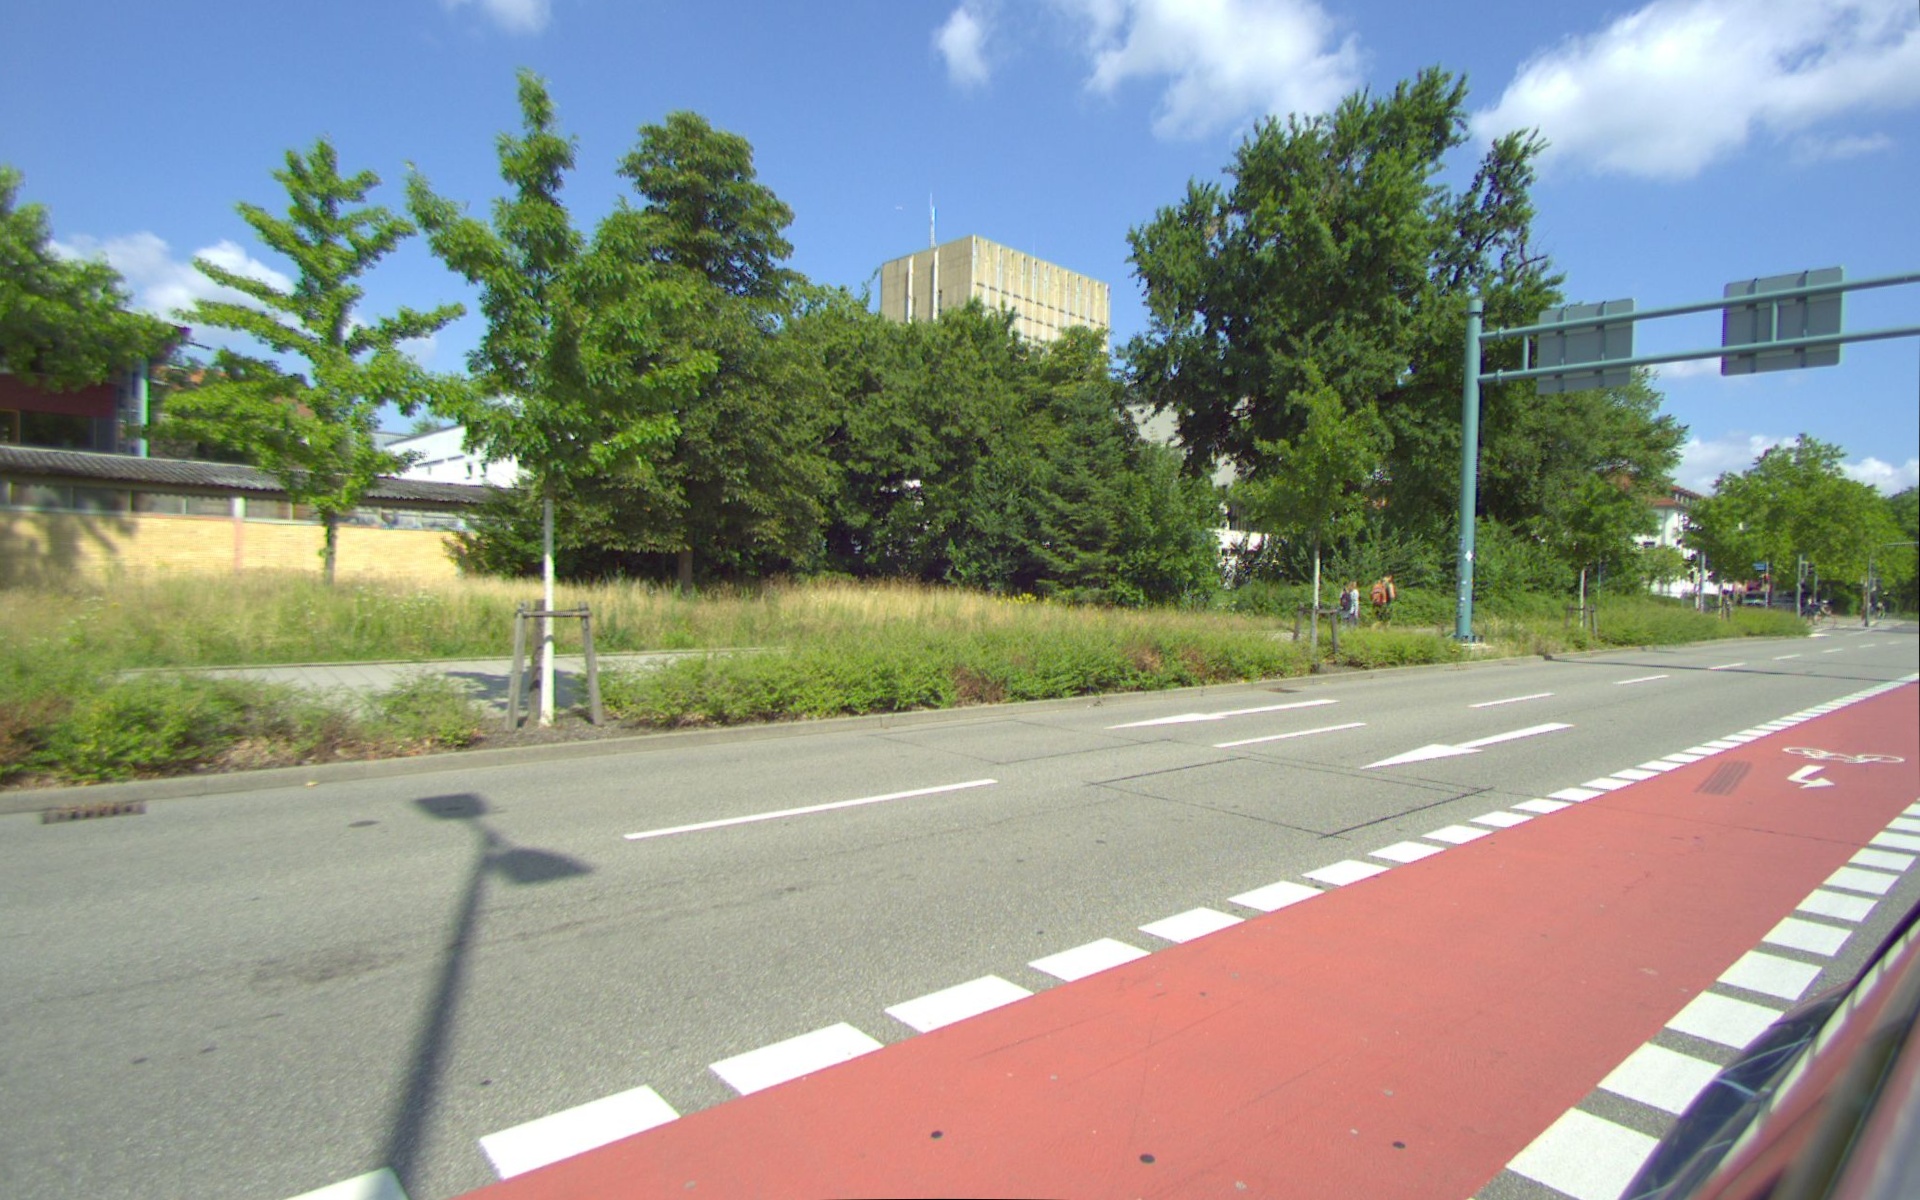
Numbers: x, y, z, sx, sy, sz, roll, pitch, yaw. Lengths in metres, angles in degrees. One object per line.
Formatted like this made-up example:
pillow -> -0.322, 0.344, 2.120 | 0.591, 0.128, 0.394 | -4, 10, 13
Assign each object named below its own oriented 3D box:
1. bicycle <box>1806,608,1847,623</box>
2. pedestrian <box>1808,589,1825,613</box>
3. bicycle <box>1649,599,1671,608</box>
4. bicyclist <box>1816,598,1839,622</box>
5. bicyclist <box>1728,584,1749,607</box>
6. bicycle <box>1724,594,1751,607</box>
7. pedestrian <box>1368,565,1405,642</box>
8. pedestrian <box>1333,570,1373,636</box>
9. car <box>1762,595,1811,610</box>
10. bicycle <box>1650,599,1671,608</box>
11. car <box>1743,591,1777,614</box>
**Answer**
bicycle -> 50.157, 0.882, 58.596 | 1.746, 0.785, 0.439 | 2, 1, 38
pedestrian -> 61.235, 0.085, 72.370 | 0.626, 1.670, 0.743 | 1, 1, -29
bicycle -> 67.911, 0.374, 98.197 | 1.666, 0.800, 0.617 | 3, 1, 41
bicyclist -> 50.187, 0.591, 58.562 | 0.926, 1.366, 0.439 | 1, 1, 37
bicyclist -> 51.716, -0.309, 67.230 | 0.601, 1.526, 0.919 | 1, 1, -1
bicycle -> 51.710, 0.034, 67.312 | 0.608, 0.843, 1.515 | 1, 1, -1
pedestrian -> 10.262, 0.078, 24.355 | 0.627, 1.824, 0.568 | 1, 1, -40
pedestrian -> 9.728, 0.063, 25.046 | 0.696, 1.600, 0.624 | 1, 1, -40
car -> 88.952, 0.279, 108.998 | 3.981, 1.442, 1.733 | 3, 1, 39
bicycle -> 68.341, 0.370, 98.709 | 1.666, 0.800, 0.617 | 3, 1, 41
car -> 73.221, 0.235, 92.605 | 1.993, 2.039, 4.826 | 2, 1, 43
